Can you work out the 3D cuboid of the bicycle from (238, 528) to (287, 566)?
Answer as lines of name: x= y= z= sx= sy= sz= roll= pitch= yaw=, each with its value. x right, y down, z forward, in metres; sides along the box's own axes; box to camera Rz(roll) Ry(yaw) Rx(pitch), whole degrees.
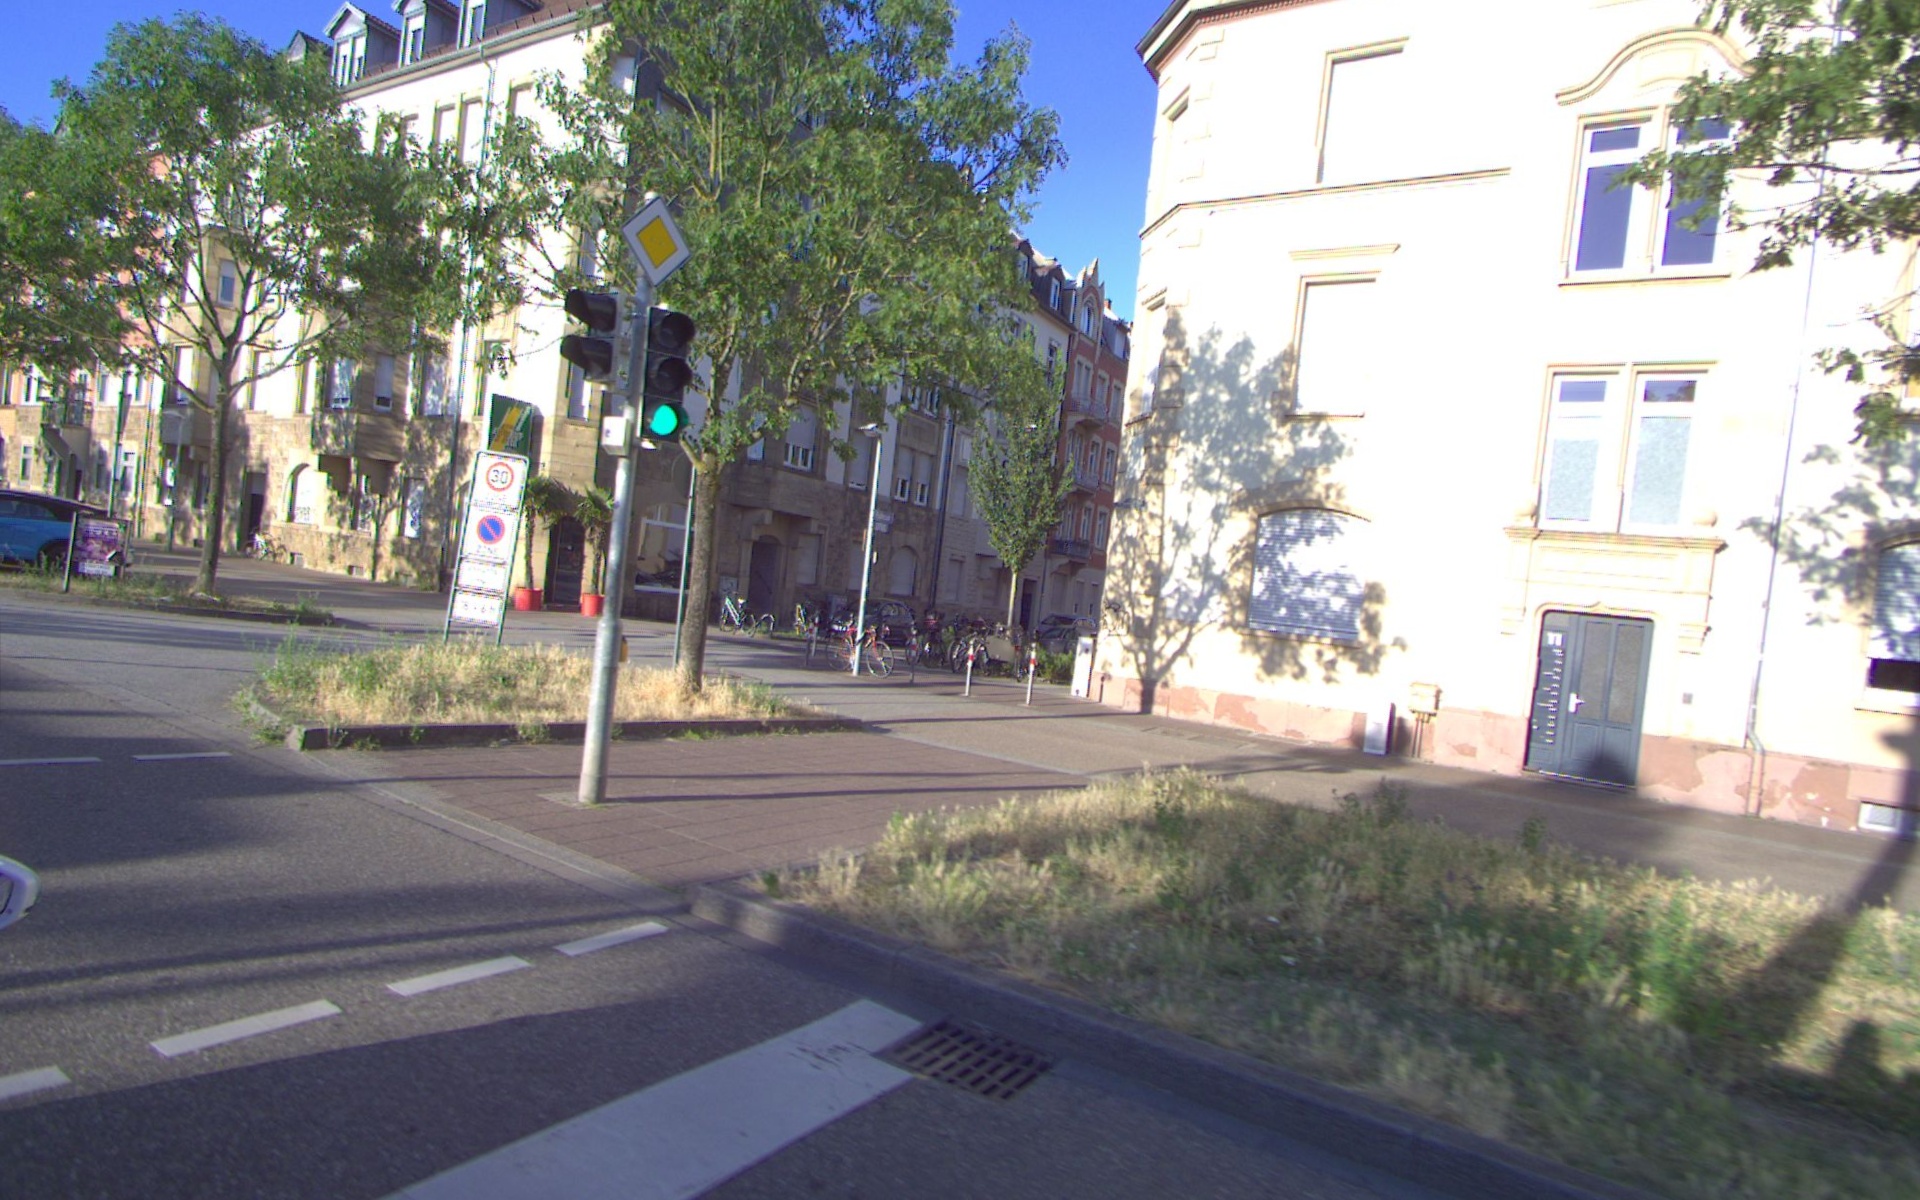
bicycle: x=-23.099 y=-1.758 z=33.285 sx=1.865 sy=1.087 sz=0.572 roll=7 pitch=2 yaw=32

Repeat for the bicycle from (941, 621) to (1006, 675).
bicycle: x=0.337 y=1.125 z=23.124 sx=0.565 sy=1.138 sz=1.976 roll=7 pitch=0 yaw=28

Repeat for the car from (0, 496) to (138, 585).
car: x=-19.787 y=-1.372 z=20.513 sx=4.236 sy=1.540 sz=1.835 roll=8 pitch=0 yaw=-26

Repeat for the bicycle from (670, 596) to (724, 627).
bicycle: x=-7.770 y=0.352 z=29.739 sx=0.522 sy=0.744 sz=1.543 roll=8 pitch=0 yaw=31

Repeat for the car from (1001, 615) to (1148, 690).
car: x=3.064 y=1.406 z=27.863 sx=1.848 sy=1.510 sz=4.169 roll=7 pitch=0 yaw=-29

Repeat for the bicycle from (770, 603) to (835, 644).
bicycle: x=-4.692 y=0.703 z=29.956 sx=1.853 sy=0.959 sz=0.629 roll=8 pitch=1 yaw=32

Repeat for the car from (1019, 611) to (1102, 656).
car: x=4.579 y=1.538 z=45.543 sx=1.967 sy=1.571 sz=4.103 roll=10 pitch=1 yaw=32

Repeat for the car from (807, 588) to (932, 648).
car: x=-2.910 y=0.637 z=33.129 sx=1.966 sy=1.484 sz=3.992 roll=9 pitch=1 yaw=31

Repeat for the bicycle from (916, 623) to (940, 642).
bicycle: x=-1.276 y=1.305 z=40.418 sx=0.322 sy=0.689 sz=1.147 roll=8 pitch=0 yaw=31

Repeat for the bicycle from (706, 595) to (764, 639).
bicycle: x=-6.218 y=0.457 z=27.757 sx=0.626 sy=0.959 sz=1.861 roll=7 pitch=1 yaw=-43

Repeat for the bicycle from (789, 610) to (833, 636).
bicycle: x=-5.080 y=0.785 z=34.381 sx=0.522 sy=0.744 sz=1.543 roll=8 pitch=0 yaw=31

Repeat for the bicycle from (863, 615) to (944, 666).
bicycle: x=-1.312 y=0.983 z=23.809 sx=0.718 sy=1.063 sz=2.332 roll=7 pitch=0 yaw=28

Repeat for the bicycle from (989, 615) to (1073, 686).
bicycle: x=1.614 y=1.144 z=22.325 sx=0.718 sy=1.401 sz=2.670 roll=7 pitch=0 yaw=28

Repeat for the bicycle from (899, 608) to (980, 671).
bicycle: x=-0.450 y=0.947 z=23.619 sx=0.718 sy=1.336 sz=2.354 roll=7 pitch=0 yaw=28

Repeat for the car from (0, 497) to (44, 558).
car: x=-27.105 y=-2.198 z=27.271 sx=4.827 sy=1.461 sz=1.950 roll=7 pitch=-3 yaw=31

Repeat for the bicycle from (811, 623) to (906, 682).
bicycle: x=-1.916 y=0.961 z=18.828 sx=1.853 sy=0.885 sz=0.459 roll=6 pitch=5 yaw=32

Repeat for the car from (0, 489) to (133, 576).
car: x=-21.428 y=-1.672 z=22.312 sx=4.295 sy=1.590 sz=1.987 roll=9 pitch=-1 yaw=-29

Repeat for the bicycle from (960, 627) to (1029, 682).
bicycle: x=0.803 y=1.246 z=22.680 sx=0.529 sy=1.119 sz=2.209 roll=7 pitch=0 yaw=28
